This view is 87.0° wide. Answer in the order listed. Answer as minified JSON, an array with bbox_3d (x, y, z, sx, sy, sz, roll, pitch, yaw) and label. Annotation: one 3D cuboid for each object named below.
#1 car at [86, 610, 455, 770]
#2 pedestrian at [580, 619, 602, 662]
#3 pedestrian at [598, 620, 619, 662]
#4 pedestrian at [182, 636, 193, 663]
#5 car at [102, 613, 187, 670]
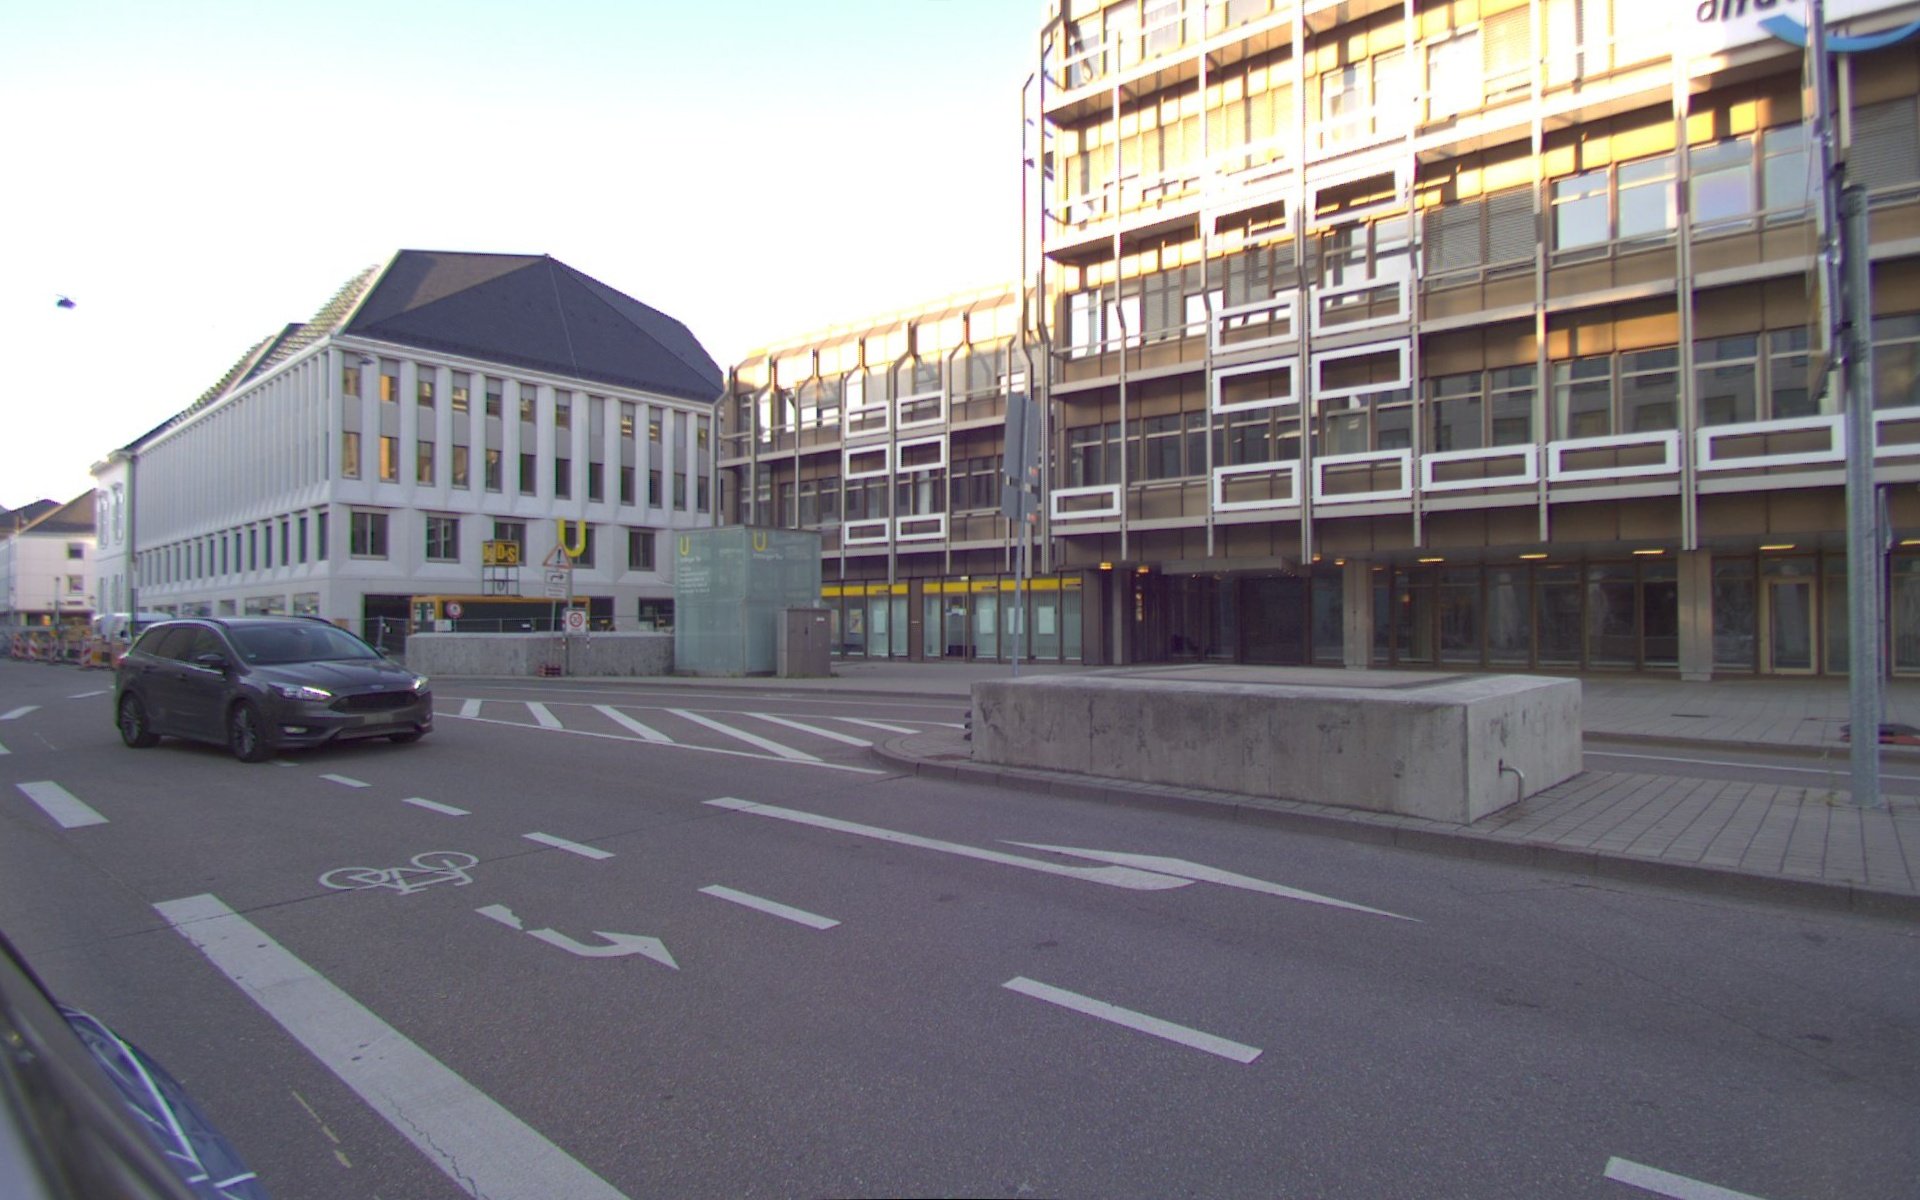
[{"bbox_3d":[-7.800,0.909,11.352,4.363,1.473,1.745,-2,-1,31],"label":"car"},{"bbox_3d":[-12.993,1.416,35.643,0.555,1.508,0.525,-2,-3,41],"label":"pedestrian"},{"bbox_3d":[-12.611,1.470,36.297,0.555,1.508,0.525,-2,-3,41],"label":"pedestrian"},{"bbox_3d":[-37.727,2.410,49.451,0.338,1.326,0.346,-2,-3,41],"label":"pedestrian"},{"bbox_3d":[-38.841,1.959,48.159,6.047,2.575,2.114,-2,-3,41],"label":"car"}]
